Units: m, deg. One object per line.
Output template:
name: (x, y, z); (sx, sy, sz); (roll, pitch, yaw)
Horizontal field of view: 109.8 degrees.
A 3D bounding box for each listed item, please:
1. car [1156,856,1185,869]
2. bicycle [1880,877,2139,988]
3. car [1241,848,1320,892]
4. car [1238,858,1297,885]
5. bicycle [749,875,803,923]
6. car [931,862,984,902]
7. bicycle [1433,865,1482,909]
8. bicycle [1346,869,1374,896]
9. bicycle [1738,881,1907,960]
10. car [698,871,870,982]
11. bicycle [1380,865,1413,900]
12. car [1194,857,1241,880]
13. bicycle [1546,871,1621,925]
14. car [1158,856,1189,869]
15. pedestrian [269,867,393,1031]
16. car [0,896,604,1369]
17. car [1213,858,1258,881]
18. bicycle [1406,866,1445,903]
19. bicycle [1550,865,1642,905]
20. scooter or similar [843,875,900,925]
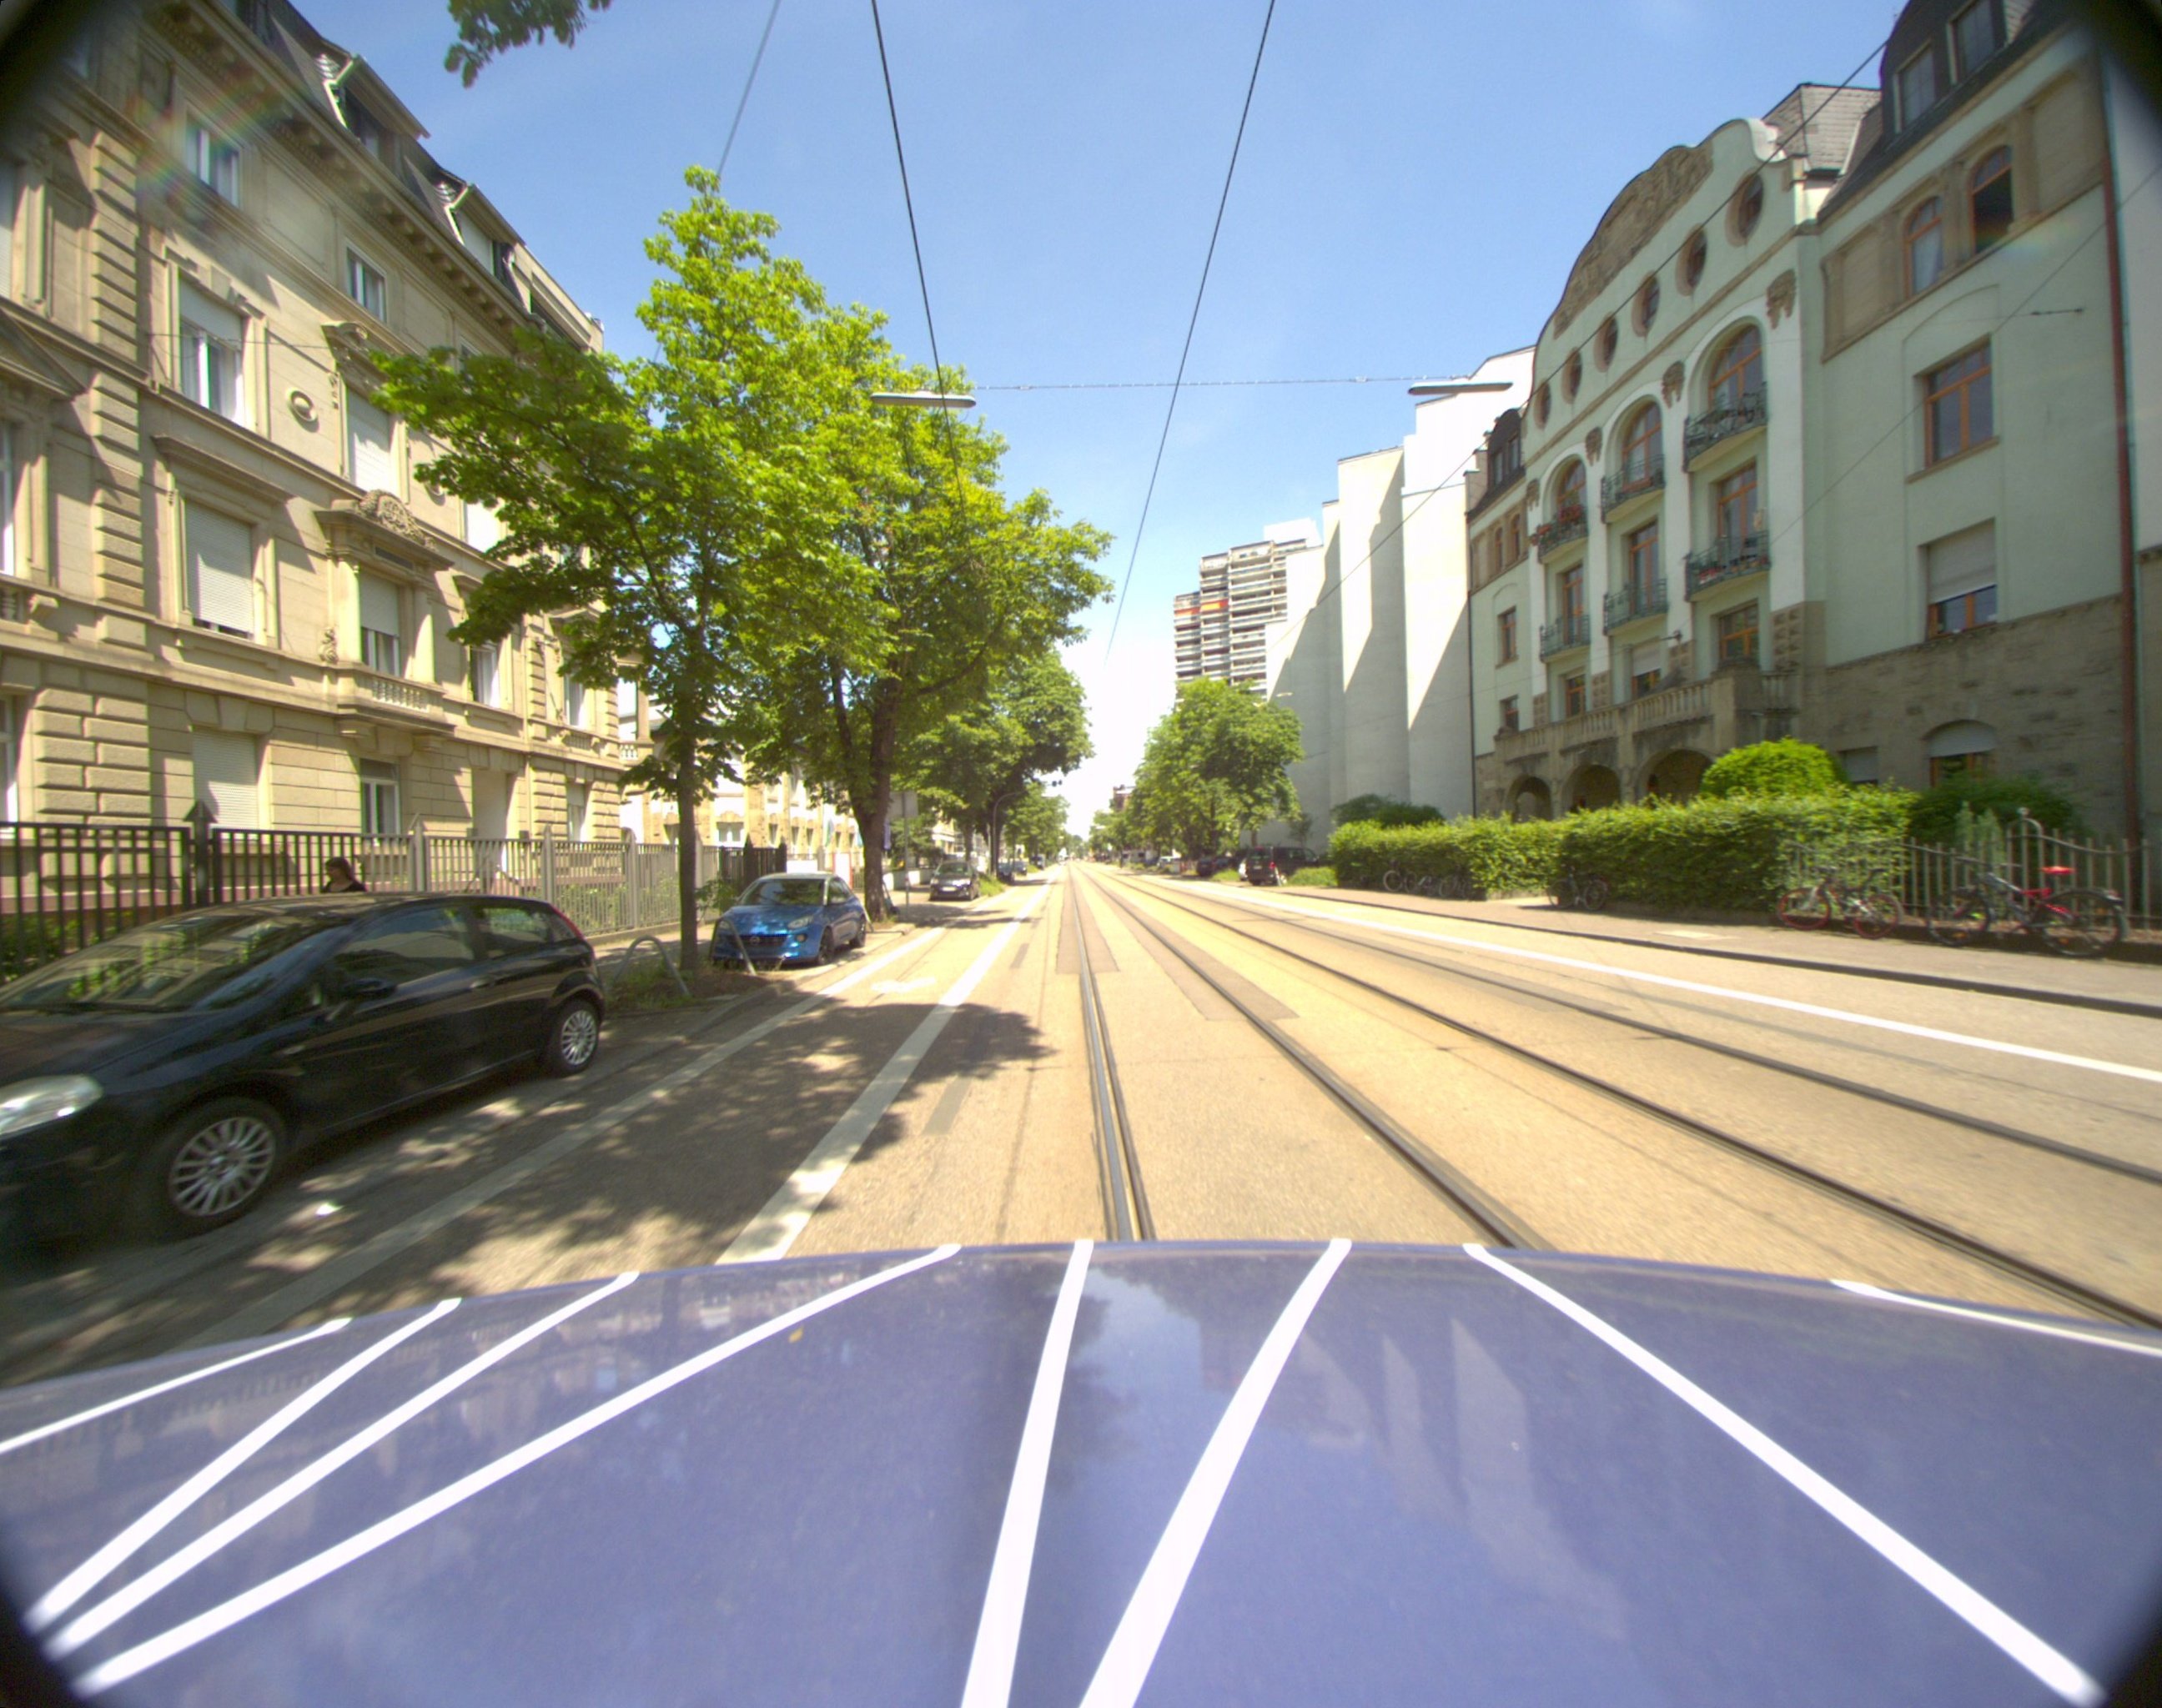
car: (9.976, 0.911, 84.672); (1.361, 1.293, 3.316); (-2, 0, 45)
bicycle: (10.801, 0.855, 8.979); (0.493, 1.090, 2.046); (-2, 0, -2)
car: (10.030, 0.783, 38.131); (3.915, 1.958, 1.908); (-3, 1, -41)
car: (11.065, 1.040, 45.025); (1.735, 1.417, 3.898); (-2, 0, 42)
bicycle: (-8.756, 1.257, 21.889); (0.688, 1.217, 2.118); (-2, 1, -2)
car: (-5.105, 1.127, 31.857); (1.648, 1.587, 4.115); (0, -1, -2)
bicycle: (10.637, 0.904, 21.538); (0.340, 1.157, 1.932); (-2, 1, -2)
bicycle: (10.564, 1.069, 28.800); (0.340, 0.935, 1.728); (-4, 0, -2)
bicycle: (10.715, 0.919, 11.097); (0.400, 0.965, 2.046); (-2, 0, -2)
car: (-4.871, 1.112, 12.993); (1.615, 1.488, 3.581); (0, 1, -2)
bicycle: (10.559, 0.942, 25.474); (0.340, 1.062, 1.727); (-2, 1, -2)
car: (9.857, 1.033, 54.664); (1.636, 1.540, 3.815); (-2, 0, 38)
bicycle: (10.839, 0.917, 16.464); (0.290, 1.040, 1.899); (-2, 1, -2)
car: (9.899, 0.864, 81.270); (1.492, 1.259, 3.490); (-2, 0, 45)
pedestrian: (-8.133, 0.995, 8.271); (0.547, 1.683, 0.755); (-1, 1, -2)
car: (-4.774, 1.111, 4.313); (1.681, 1.488, 3.918); (0, 0, -1)
car: (10.556, 1.058, 51.767); (1.488, 1.391, 3.287); (-2, 1, 42)
bicycle: (10.596, 0.924, 23.432); (0.340, 1.062, 1.727); (-2, 1, -2)
bicycle: (13.889, 0.829, 20.513); (2.228, 0.990, 0.374); (-2, 1, -1)
scooter or similar: (-5.478, 1.198, 19.937); (1.379, 1.225, 0.375); (-3, 1, -15)
